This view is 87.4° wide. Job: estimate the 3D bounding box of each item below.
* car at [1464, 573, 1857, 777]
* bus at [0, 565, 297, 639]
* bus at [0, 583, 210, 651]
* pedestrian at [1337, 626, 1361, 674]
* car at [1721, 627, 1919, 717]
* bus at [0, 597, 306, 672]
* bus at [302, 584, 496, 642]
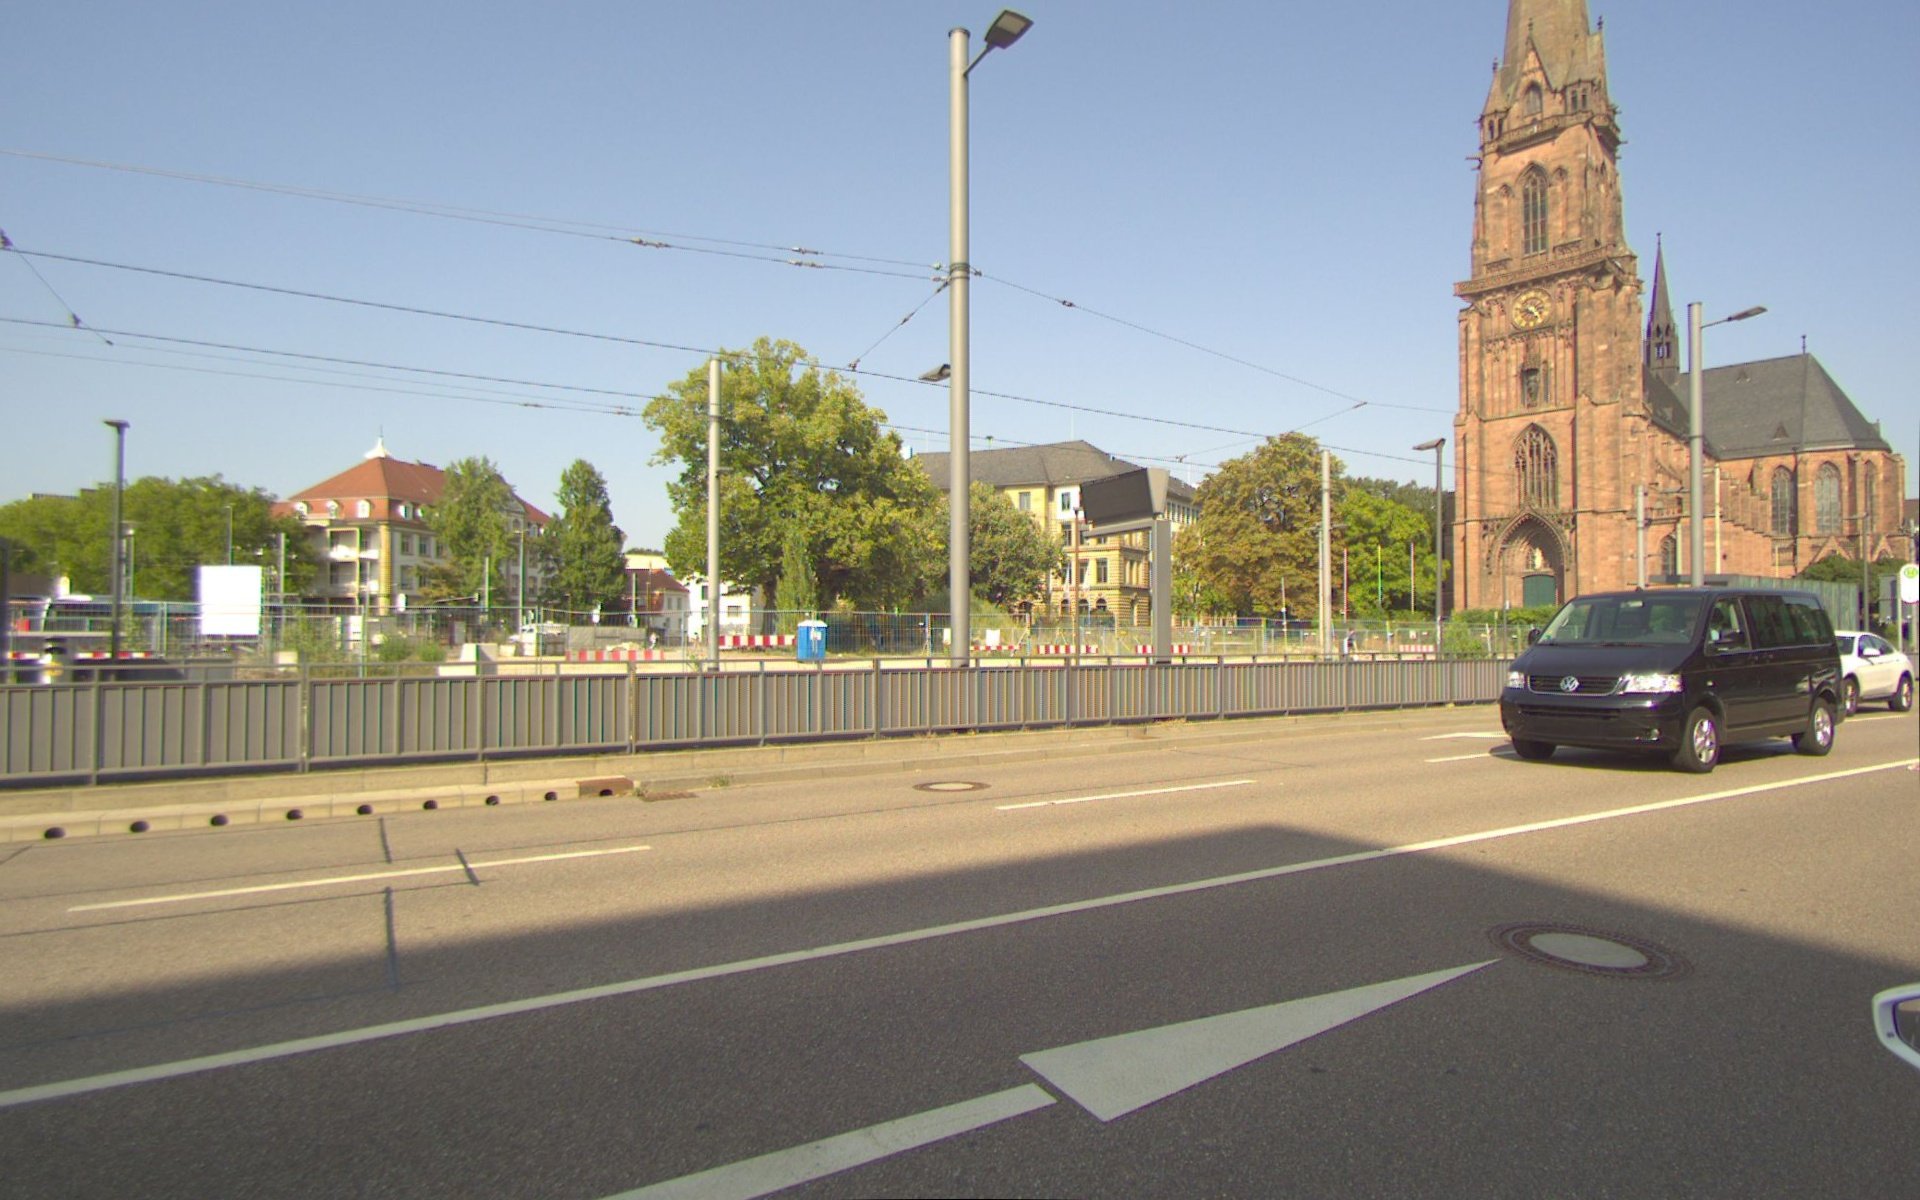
[{"bbox_3d":[8.147,0.800,11.594,4.662,1.929,1.984,1,-3,-31],"label":"car"},{"bbox_3d":[-42.605,0.321,53.756,3.160,3.464,13.326,-1,-2,13],"label":"bus"},{"bbox_3d":[-49.390,1.034,55.921,3.160,3.464,13.326,-1,-2,13],"label":"bus"},{"bbox_3d":[14.052,1.810,36.322,0.657,1.723,0.514,1,-2,-32],"label":"pedestrian"},{"bbox_3d":[17.340,1.396,20.209,4.453,1.632,1.705,1,-3,-31],"label":"car"},{"bbox_3d":[-39.546,1.722,50.142,3.159,3.220,13.327,0,-2,11],"label":"bus"},{"bbox_3d":[-36.938,1.023,67.181,3.160,3.464,13.326,-1,-2,13],"label":"bus"}]
